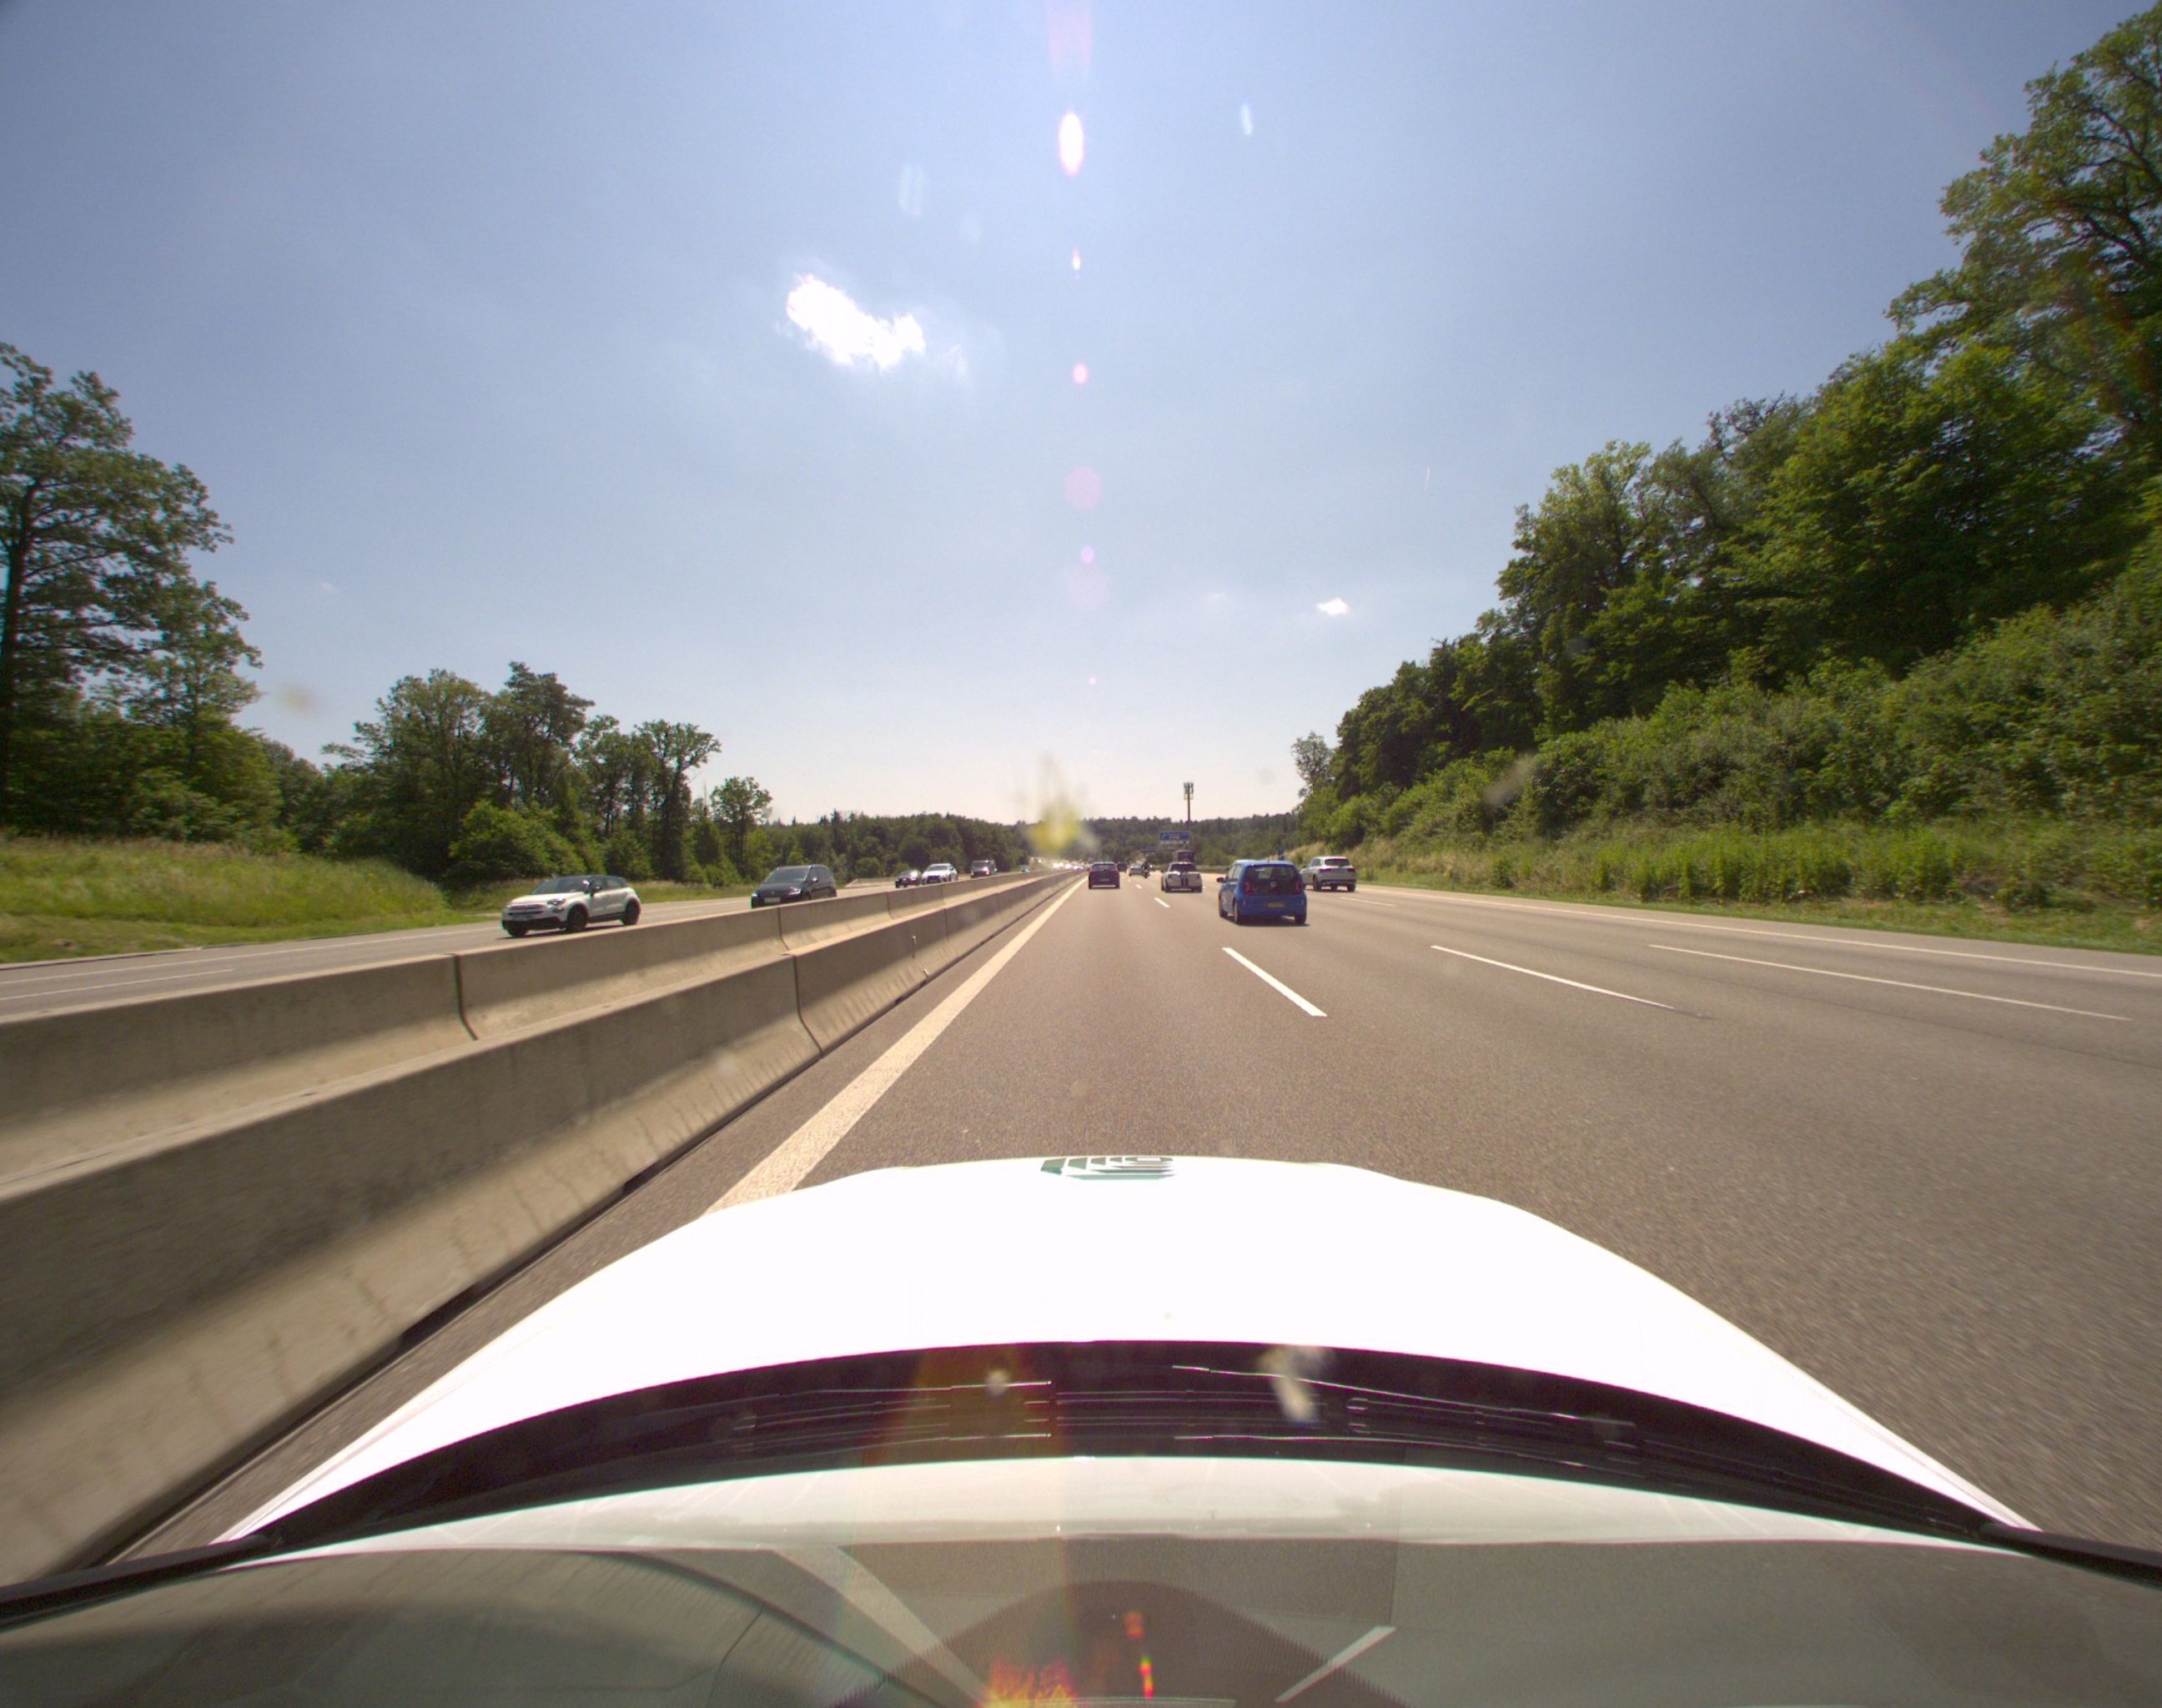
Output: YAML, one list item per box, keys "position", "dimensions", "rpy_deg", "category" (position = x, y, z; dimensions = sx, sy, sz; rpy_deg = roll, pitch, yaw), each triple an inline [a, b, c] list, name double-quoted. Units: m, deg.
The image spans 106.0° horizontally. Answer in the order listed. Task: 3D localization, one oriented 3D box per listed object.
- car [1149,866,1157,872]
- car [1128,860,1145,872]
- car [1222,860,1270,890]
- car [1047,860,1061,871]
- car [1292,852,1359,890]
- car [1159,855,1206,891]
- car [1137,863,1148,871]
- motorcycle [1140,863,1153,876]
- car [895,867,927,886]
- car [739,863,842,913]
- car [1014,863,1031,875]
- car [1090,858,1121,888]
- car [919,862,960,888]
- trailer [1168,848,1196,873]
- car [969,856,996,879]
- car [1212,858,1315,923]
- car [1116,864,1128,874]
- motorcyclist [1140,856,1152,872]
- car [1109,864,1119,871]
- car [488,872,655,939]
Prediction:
- position: [17.481, 3.634, 197.216]
  dimensions: [1.603, 1.212, 3.459]
  rpy_deg: [-2, -1, 0]
  category: "car"
- position: [6.214, 1.314, 91.744]
  dimensions: [1.776, 1.265, 3.461]
  rpy_deg: [-2, 0, 1]
  category: "car"
- position: [8.713, 1.079, 43.325]
  dimensions: [1.660, 1.433, 4.375]
  rpy_deg: [-2, 0, 1]
  category: "car"
- position: [-4.503, 1.879, 134.838]
  dimensions: [1.987, 1.673, 5.281]
  rpy_deg: [-4, -1, 1]
  category: "car"
- position: [11.786, 0.787, 39.583]
  dimensions: [1.794, 1.731, 5.240]
  rpy_deg: [0, 0, 1]
  category: "car"
- position: [4.746, 0.900, 38.634]
  dimensions: [1.834, 1.552, 4.001]
  rpy_deg: [2, -2, 2]
  category: "car"
- position: [10.772, 2.295, 143.270]
  dimensions: [1.670, 1.431, 3.683]
  rpy_deg: [-2, 0, -1]
  category: "car"
- position: [6.071, 1.431, 75.806]
  dimensions: [0.974, 1.129, 2.271]
  rpy_deg: [-2, -1, 0]
  category: "motorcycle"
- position: [-13.472, 1.731, 64.665]
  dimensions: [1.481, 1.305, 4.301]
  rpy_deg: [-3, 0, 2]
  category: "car"
- position: [-10.160, 1.148, 28.900]
  dimensions: [1.794, 1.548, 4.731]
  rpy_deg: [-2, 0, 2]
  category: "car"
- position: [-8.894, 2.275, 124.718]
  dimensions: [1.987, 1.675, 5.281]
  rpy_deg: [-4, -1, 1]
  category: "car"
- position: [1.336, 1.018, 44.377]
  dimensions: [1.618, 1.487, 3.686]
  rpy_deg: [-1, 0, 2]
  category: "car"
- position: [-9.653, 1.418, 55.732]
  dimensions: [1.889, 1.662, 4.729]
  rpy_deg: [-2, 0, 0]
  category: "car"
- position: [15.965, 1.143, 129.447]
  dimensions: [2.847, 3.688, 13.542]
  rpy_deg: [-2, -1, 1]
  category: "trailer"
- position: [-9.313, 1.240, 77.193]
  dimensions: [1.987, 2.013, 4.811]
  rpy_deg: [-2, 0, -1]
  category: "car"
- position: [4.382, 0.837, 20.102]
  dimensions: [1.731, 1.411, 4.001]
  rpy_deg: [-1, -1, 2]
  category: "car"
- position: [7.873, 2.878, 155.843]
  dimensions: [2.090, 1.851, 4.081]
  rpy_deg: [-2, 0, 1]
  category: "car"
- position: [6.038, 0.942, 75.692]
  dimensions: [0.959, 1.437, 1.234]
  rpy_deg: [-3, -1, 0]
  category: "motorcyclist"
- position: [7.554, 3.068, 185.788]
  dimensions: [1.989, 1.684, 4.419]
  rpy_deg: [0, 0, -3]
  category: "car"
- position: [-14.276, 1.370, 23.167]
  dimensions: [1.737, 1.562, 4.425]
  rpy_deg: [-4, -1, 2]
  category: "car"
